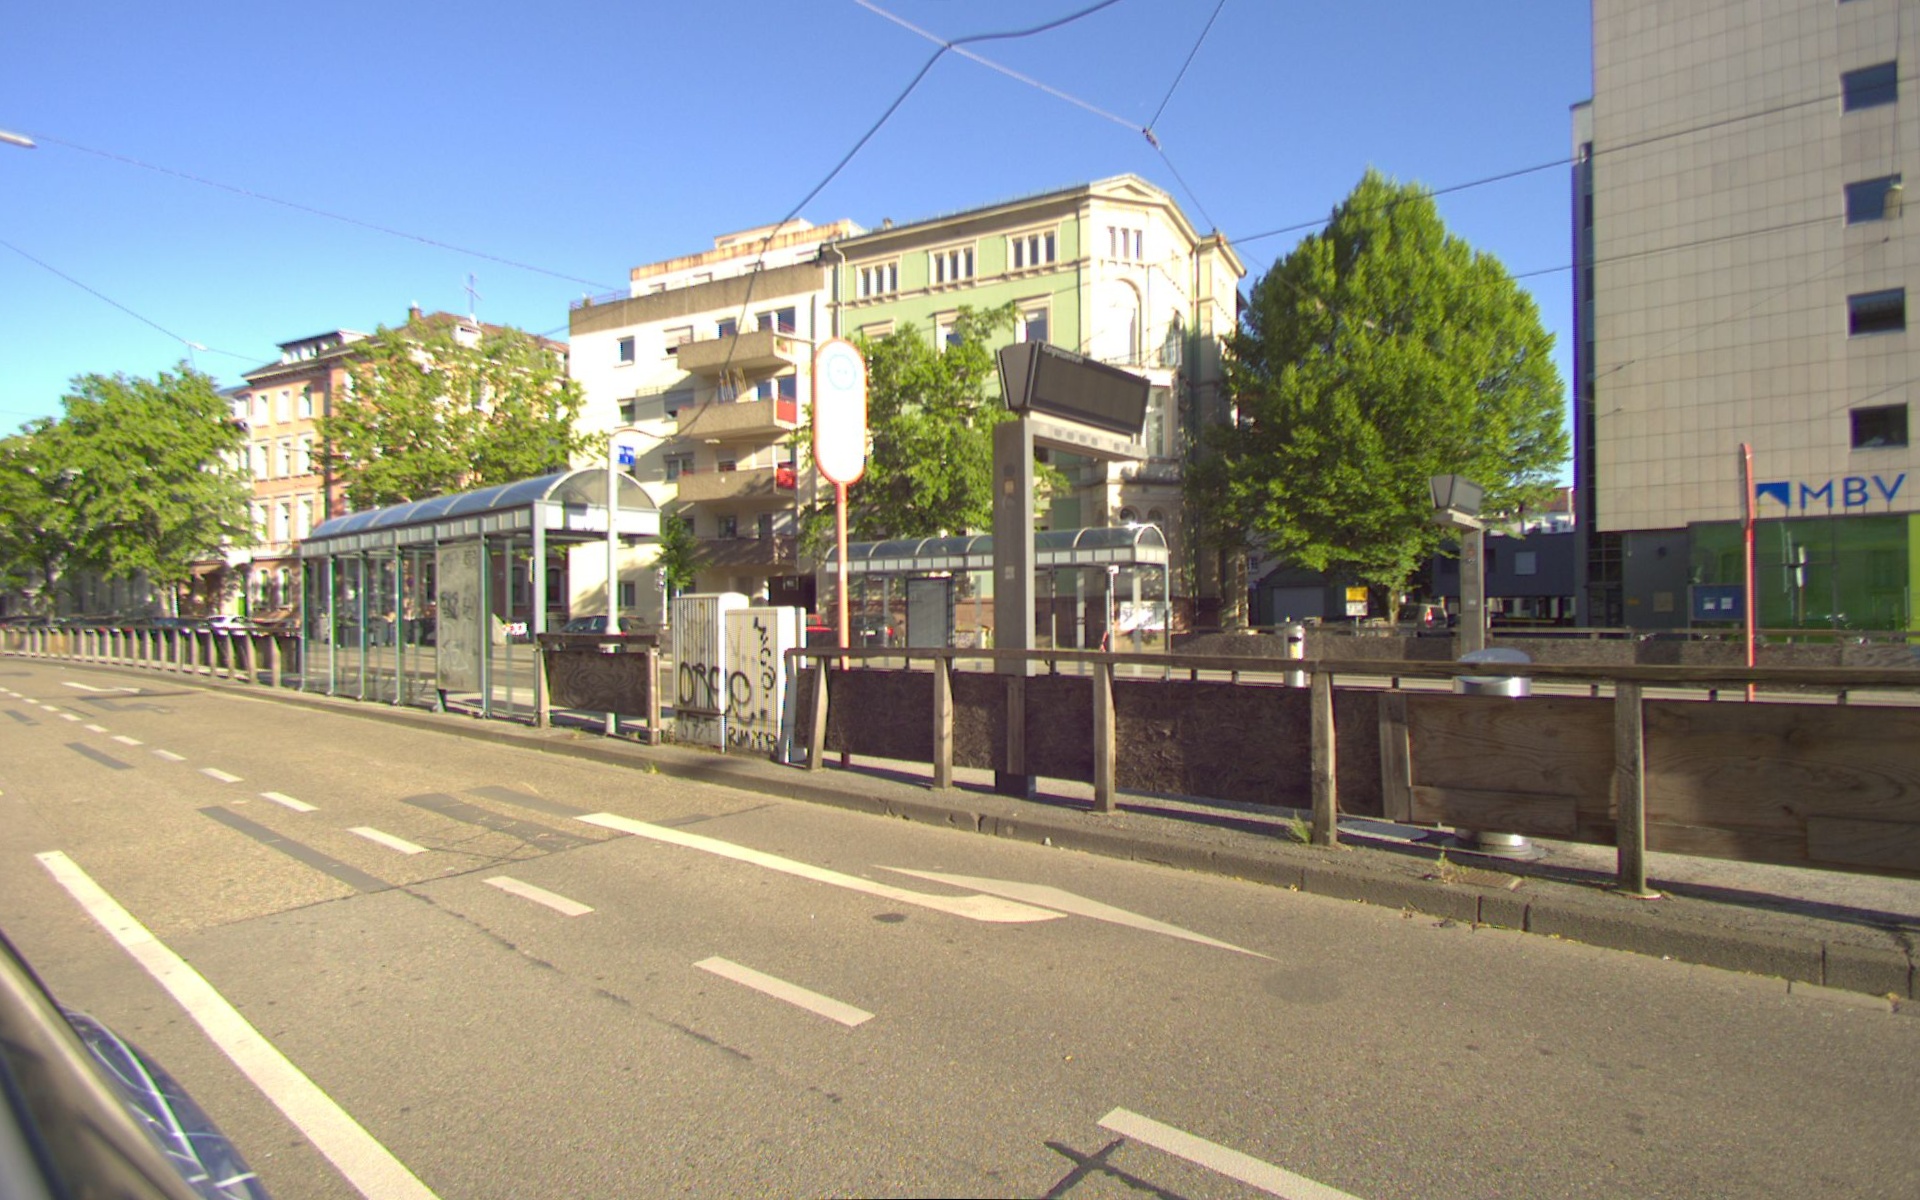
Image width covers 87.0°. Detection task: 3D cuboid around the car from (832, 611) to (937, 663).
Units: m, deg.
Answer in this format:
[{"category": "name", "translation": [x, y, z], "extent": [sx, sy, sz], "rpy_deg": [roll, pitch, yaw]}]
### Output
[{"category": "car", "translation": [-2.428, 1.196, 33.440], "extent": [1.754, 1.594, 3.965], "rpy_deg": [-1, -1, 26]}]

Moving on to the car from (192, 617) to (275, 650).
[{"category": "car", "translation": [-39.606, 1.828, 55.306], "extent": [1.825, 1.721, 4.130], "rpy_deg": [0, -1, -5]}]

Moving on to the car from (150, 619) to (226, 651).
[{"category": "car", "translation": [-35.111, 1.582, 46.010], "extent": [3.870, 1.419, 1.650], "rpy_deg": [-1, -2, 35]}]

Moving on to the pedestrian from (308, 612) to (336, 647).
[{"category": "pedestrian", "translation": [-31.918, 1.476, 50.631], "extent": [1.016, 1.733, 0.846], "rpy_deg": [-1, -2, 32]}]

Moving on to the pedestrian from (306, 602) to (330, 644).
[{"category": "pedestrian", "translation": [-34.192, 1.209, 53.903], "extent": [0.755, 2.224, 0.803], "rpy_deg": [-1, -2, 36]}]

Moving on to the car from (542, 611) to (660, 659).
[{"category": "car", "translation": [-11.961, 1.143, 33.650], "extent": [3.989, 1.500, 1.629], "rpy_deg": [-1, -2, 34]}]

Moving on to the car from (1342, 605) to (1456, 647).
[{"category": "car", "translation": [15.779, 0.898, 36.468], "extent": [1.544, 1.423, 3.430], "rpy_deg": [-1, 0, -38]}]

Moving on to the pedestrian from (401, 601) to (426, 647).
[{"category": "pedestrian", "translation": [-27.067, 1.187, 50.150], "extent": [0.753, 2.224, 0.804], "rpy_deg": [-1, -2, 30]}]

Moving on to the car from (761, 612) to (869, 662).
[{"category": "car", "translation": [-4.862, 1.228, 34.488], "extent": [1.754, 1.594, 3.965], "rpy_deg": [-1, -1, 26]}]

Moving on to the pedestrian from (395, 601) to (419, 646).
[{"category": "pedestrian", "translation": [-27.725, 1.195, 50.749], "extent": [0.753, 2.224, 0.804], "rpy_deg": [-1, -2, 30]}]

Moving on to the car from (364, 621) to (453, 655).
[{"category": "car", "translation": [-23.759, 1.624, 43.592], "extent": [3.986, 1.407, 1.592], "rpy_deg": [-1, -2, 32]}]

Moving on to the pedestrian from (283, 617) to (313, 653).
[{"category": "pedestrian", "translation": [-31.117, 1.642, 47.561], "extent": [0.888, 1.641, 0.859], "rpy_deg": [-1, -2, 31]}]

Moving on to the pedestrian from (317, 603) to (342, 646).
[{"category": "pedestrian", "translation": [-32.923, 1.263, 52.837], "extent": [0.753, 2.224, 0.804], "rpy_deg": [-1, -2, 30]}]

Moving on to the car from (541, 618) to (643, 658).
[{"category": "car", "translation": [-14.013, 1.420, 38.498], "extent": [3.725, 1.438, 1.637], "rpy_deg": [-1, -1, 29]}]
